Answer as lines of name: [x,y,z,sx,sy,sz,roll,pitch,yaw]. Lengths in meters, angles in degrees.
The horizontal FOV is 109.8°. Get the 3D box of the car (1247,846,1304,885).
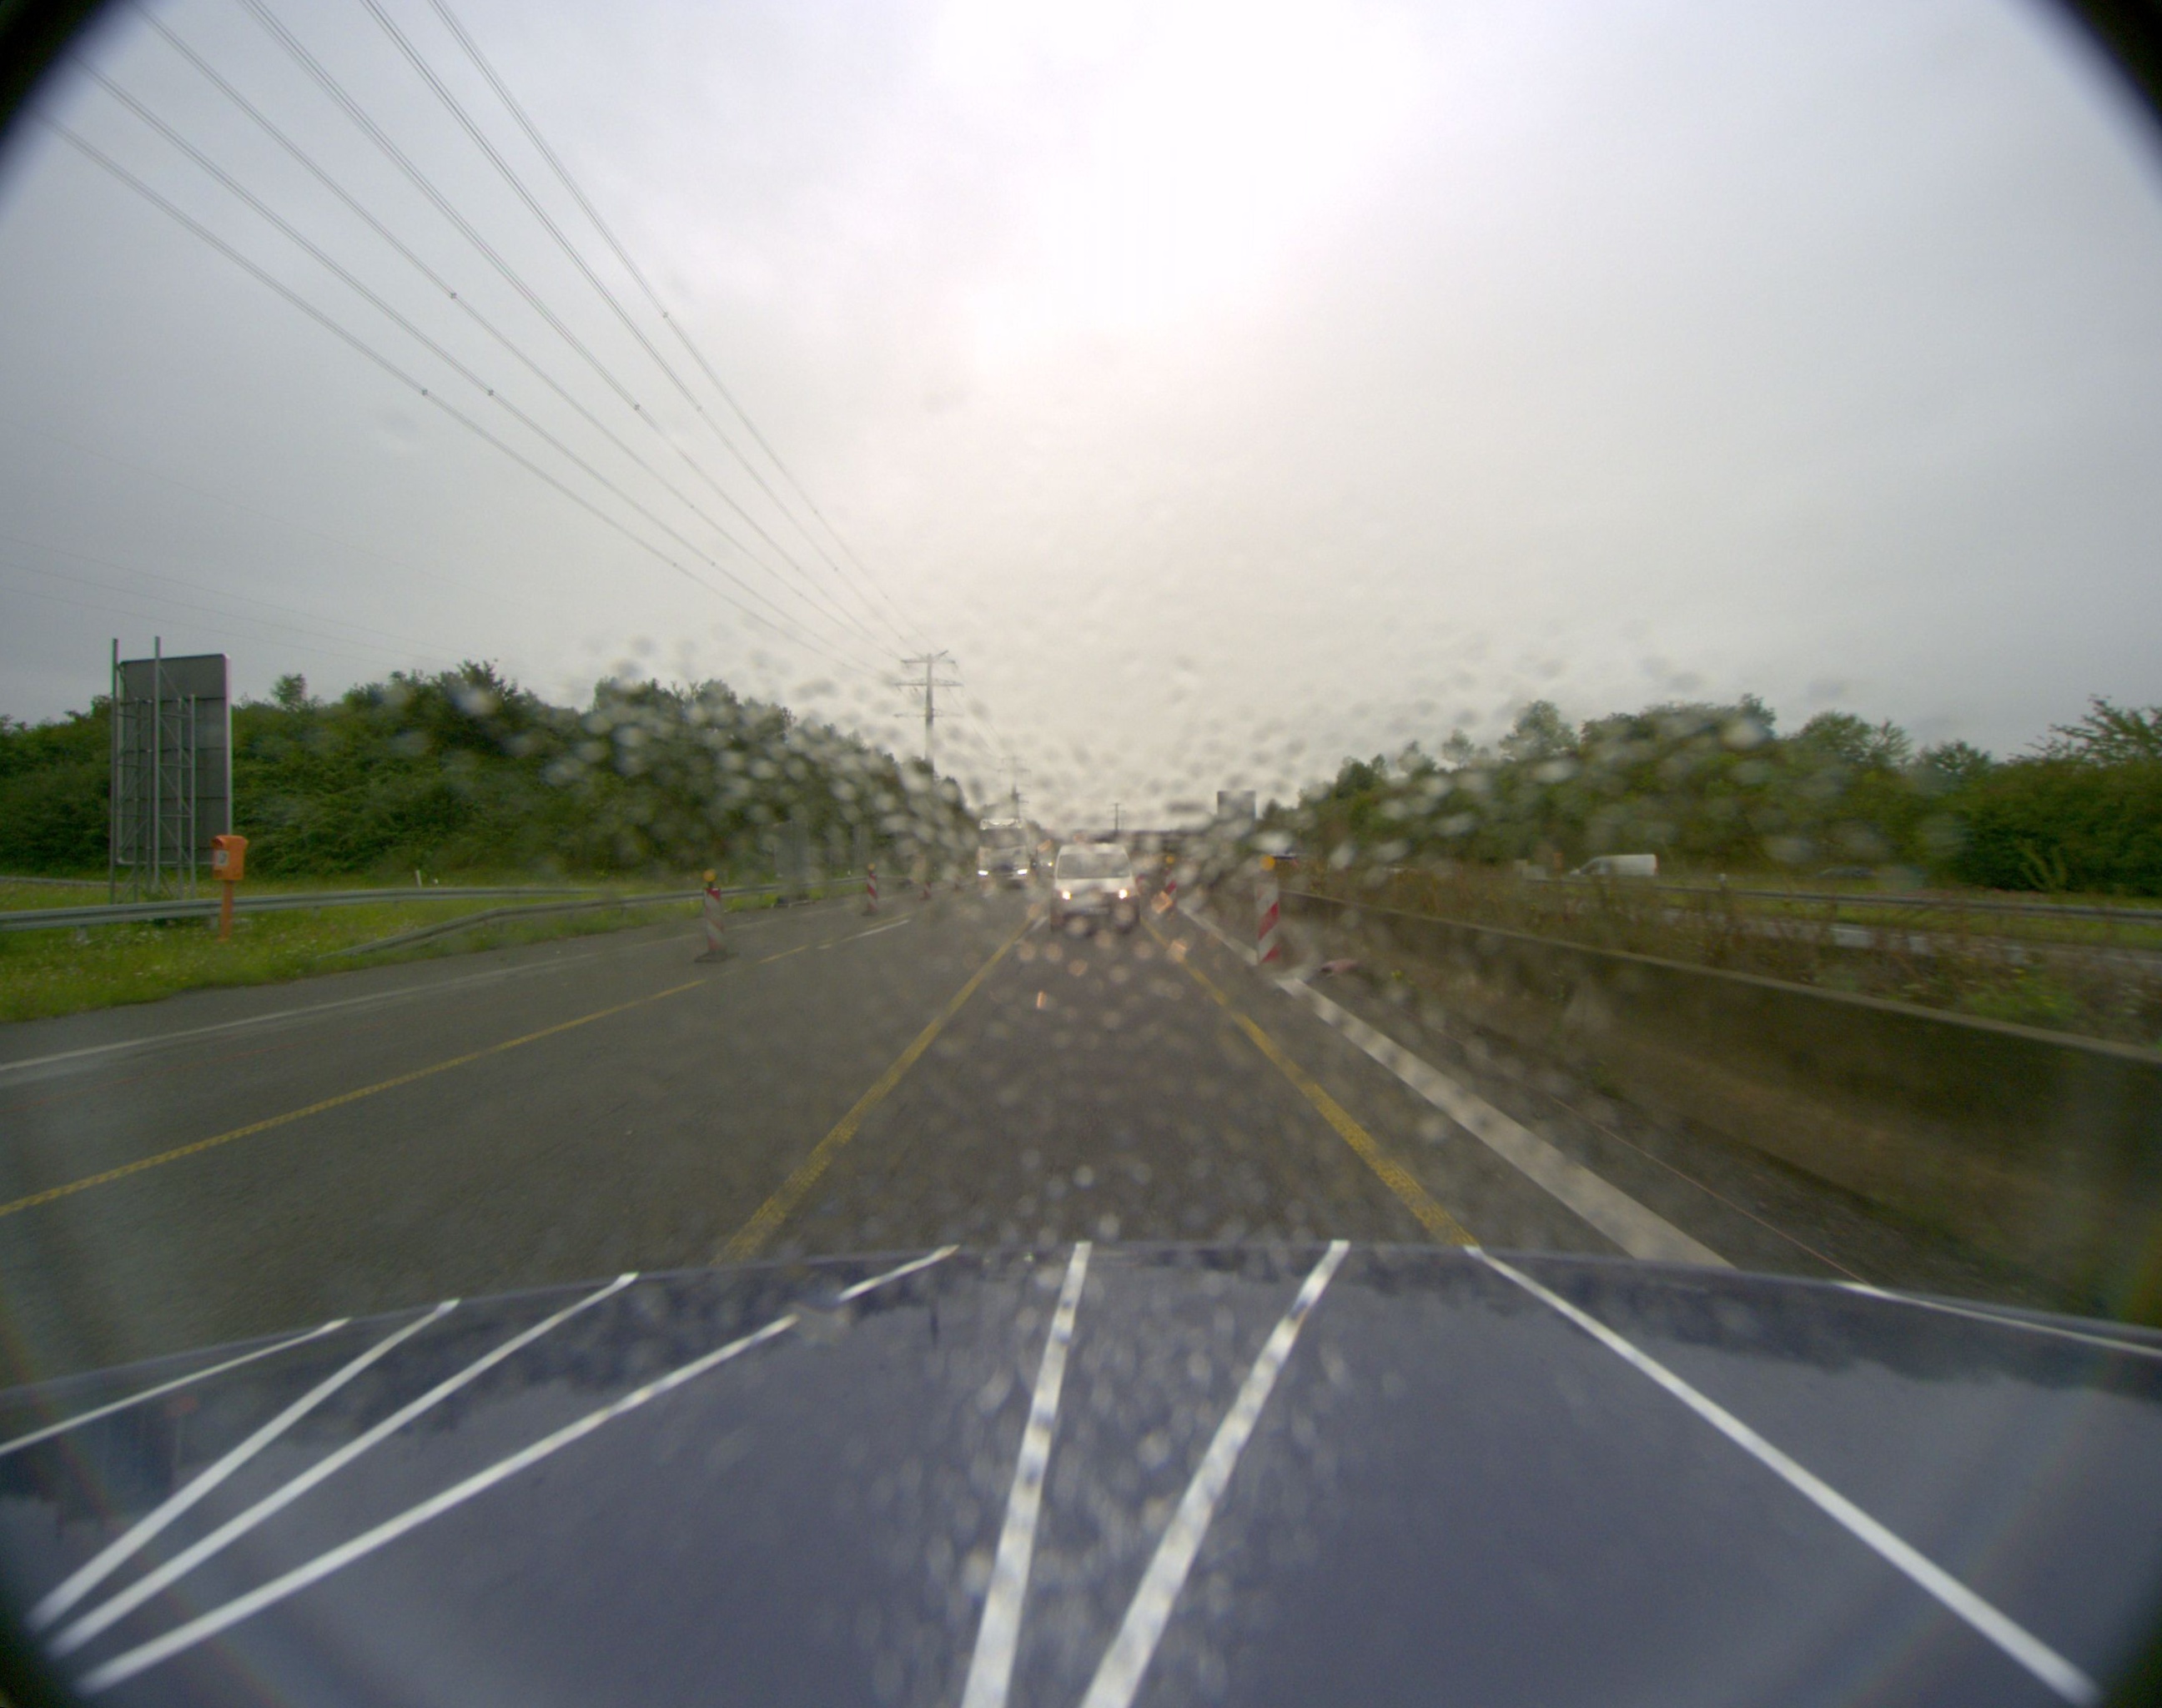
car: [10.756,0.602,42.301,1.999,2.002,3.999,2,1,-1]

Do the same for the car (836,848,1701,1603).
car: [0.458,0.864,3.769,1.998,1.750,4.000,0,0,1]

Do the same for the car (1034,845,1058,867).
car: [-3.305,0.170,73.360,1.998,2.002,3.999,-2,1,1]

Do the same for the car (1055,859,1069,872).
car: [-3.113,1.872,124.468,1.998,2.002,3.999,-2,1,1]

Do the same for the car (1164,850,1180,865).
car: [12.559,0.447,105.396,1.772,2.002,5.254,0,1,2]

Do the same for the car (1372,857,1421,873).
car: [30.329,1.024,73.118,1.923,1.395,3.990,0,1,-30]

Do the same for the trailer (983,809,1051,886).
trailer: [-3.642,-0.448,46.850,2.808,3.980,14.146,-2,1,0]

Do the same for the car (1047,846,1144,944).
car: [0.242,0.772,16.697,1.770,1.774,4.647,-2,0,-1]

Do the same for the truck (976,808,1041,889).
truck: [-3.699,-0.314,40.091,2.748,3.912,5.396,-2,1,0]

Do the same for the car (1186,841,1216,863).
car: [11.253,-0.200,71.484,1.998,1.947,4.671,-2,1,0]

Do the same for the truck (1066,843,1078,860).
truck: [-1.865,-0.603,165.072,2.276,3.682,6.655,-2,1,1]

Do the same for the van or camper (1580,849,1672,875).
van or camper: [43.181,0.585,60.385,5.830,2.002,2.004,1,1,33]

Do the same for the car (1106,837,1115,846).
car: [7.294,-3.074,186.866,1.998,2.002,3.999,-2,1,1]

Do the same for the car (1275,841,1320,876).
car: [17.217,0.331,60.746,2.055,2.594,5.846,-2,1,2]
